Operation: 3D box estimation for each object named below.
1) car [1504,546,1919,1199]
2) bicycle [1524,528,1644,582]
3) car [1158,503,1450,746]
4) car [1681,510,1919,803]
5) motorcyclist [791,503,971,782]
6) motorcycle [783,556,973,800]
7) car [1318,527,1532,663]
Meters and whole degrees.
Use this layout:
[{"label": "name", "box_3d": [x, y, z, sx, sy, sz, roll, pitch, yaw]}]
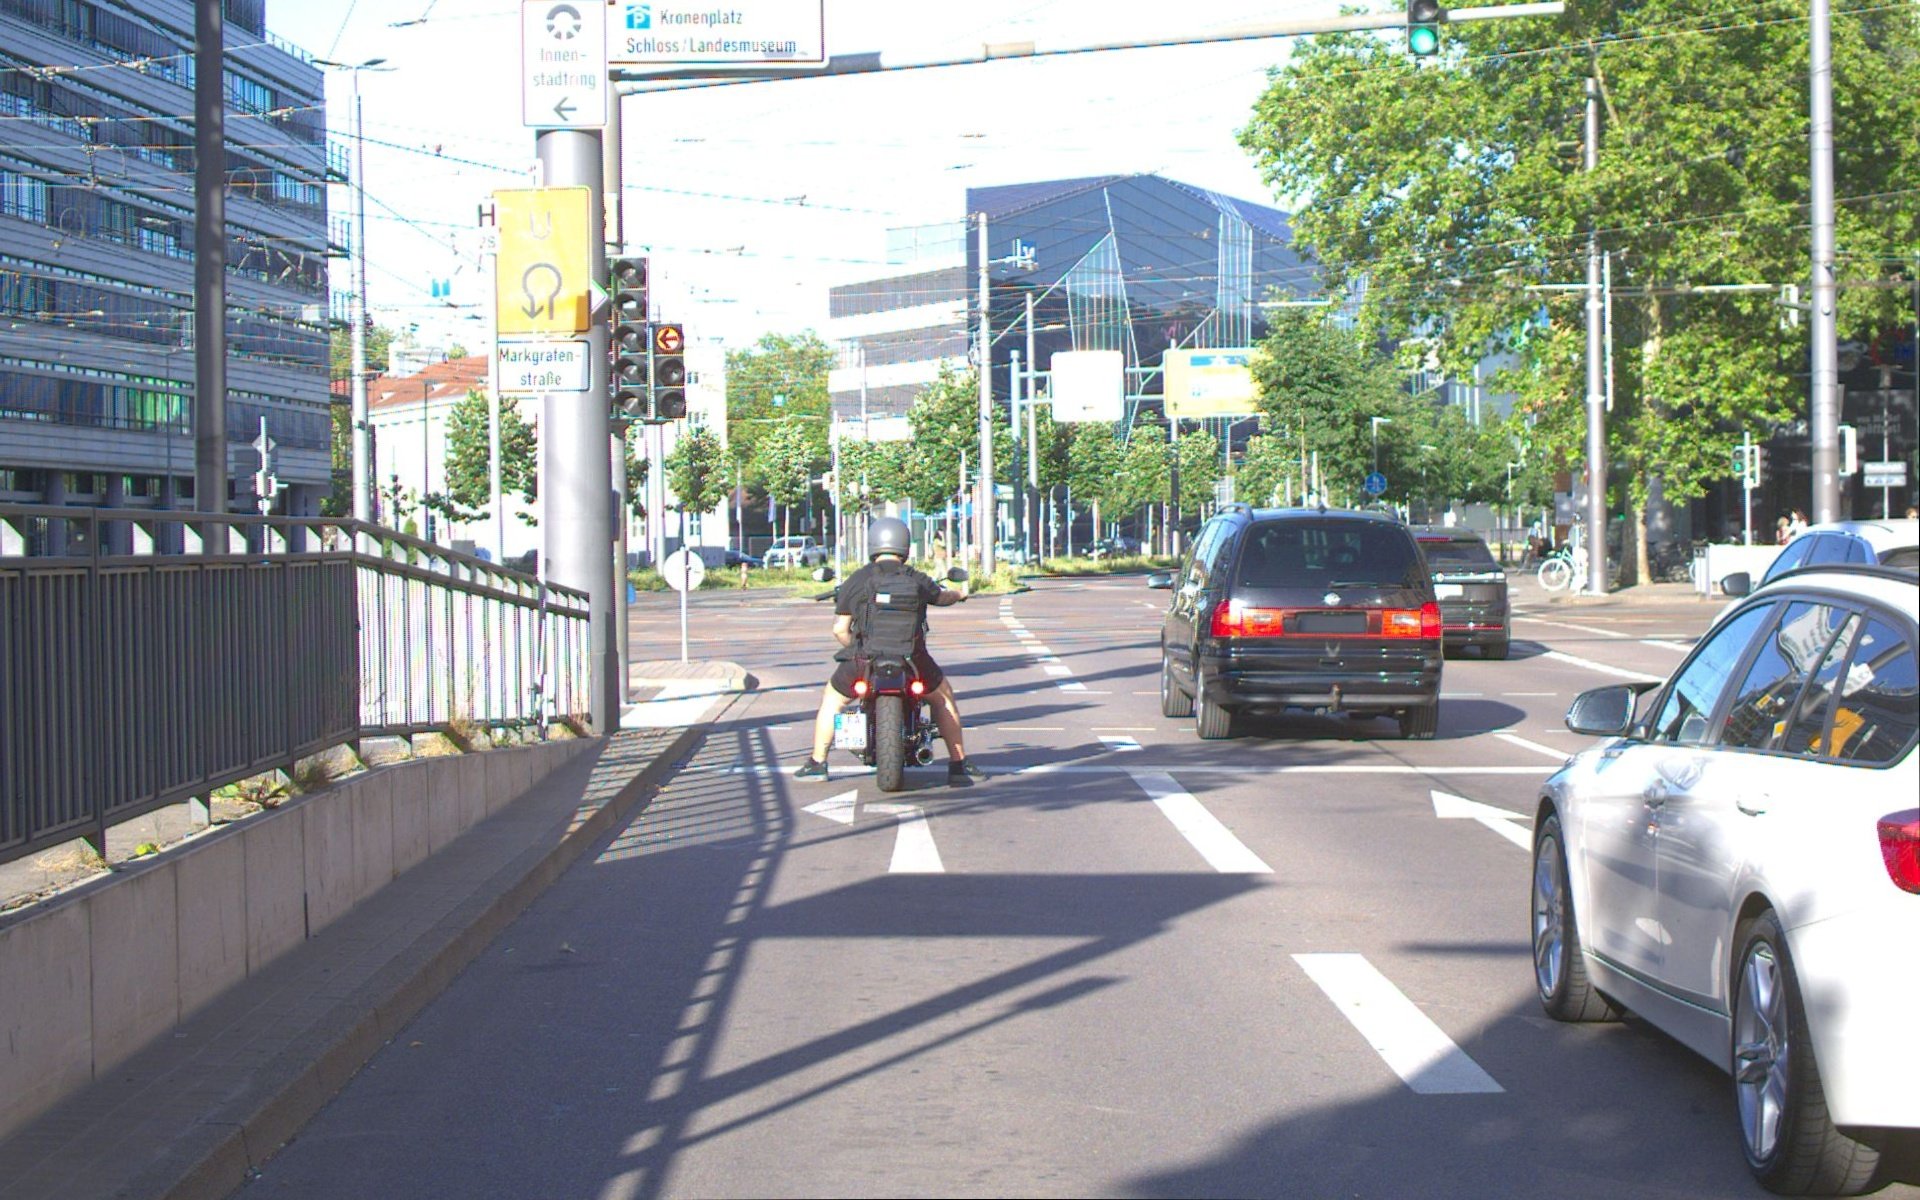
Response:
[{"label": "car", "box_3d": [2.644, 0.631, 9.008, 1.692, 1.491, 4.409, 1, 1, 0]}, {"label": "bicycle", "box_3d": [14.548, -1.045, 80.199, 2.693, 1.240, 0.527, 0, 1, 23]}, {"label": "car", "box_3d": [2.527, 0.132, 26.142, 1.798, 1.699, 4.063, 0, 1, 0]}, {"label": "car", "box_3d": [5.905, 0.266, 21.414, 1.851, 1.634, 4.379, 0, 1, -1]}, {"label": "motorcyclist", "box_3d": [-0.461, 0.236, 20.517, 1.019, 1.598, 1.148, 1, 1, 0]}, {"label": "motorcycle", "box_3d": [-0.458, 0.412, 20.417, 1.019, 1.307, 2.915, 1, 1, 0]}, {"label": "car", "box_3d": [5.362, -0.101, 40.155, 1.851, 1.492, 4.379, 0, 1, -1]}]
